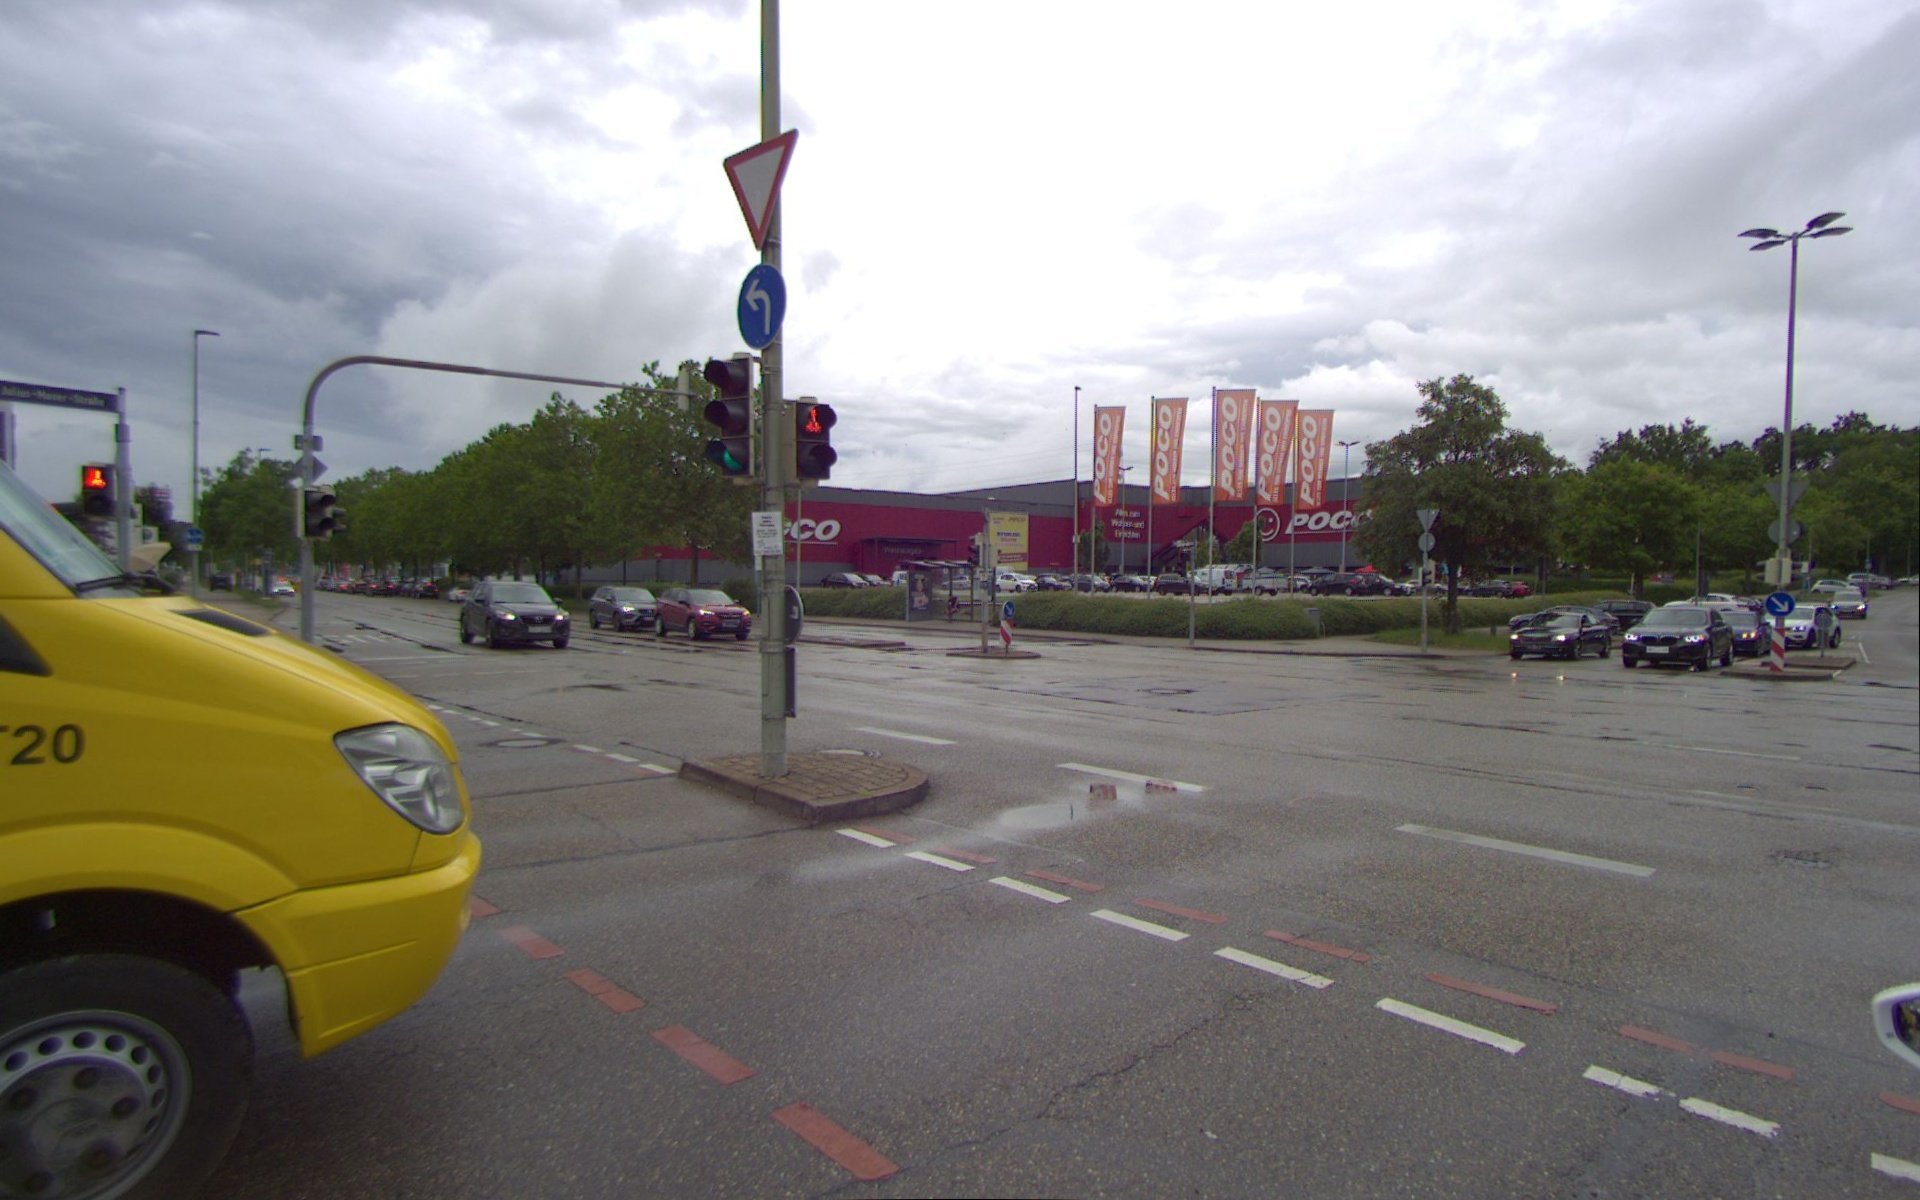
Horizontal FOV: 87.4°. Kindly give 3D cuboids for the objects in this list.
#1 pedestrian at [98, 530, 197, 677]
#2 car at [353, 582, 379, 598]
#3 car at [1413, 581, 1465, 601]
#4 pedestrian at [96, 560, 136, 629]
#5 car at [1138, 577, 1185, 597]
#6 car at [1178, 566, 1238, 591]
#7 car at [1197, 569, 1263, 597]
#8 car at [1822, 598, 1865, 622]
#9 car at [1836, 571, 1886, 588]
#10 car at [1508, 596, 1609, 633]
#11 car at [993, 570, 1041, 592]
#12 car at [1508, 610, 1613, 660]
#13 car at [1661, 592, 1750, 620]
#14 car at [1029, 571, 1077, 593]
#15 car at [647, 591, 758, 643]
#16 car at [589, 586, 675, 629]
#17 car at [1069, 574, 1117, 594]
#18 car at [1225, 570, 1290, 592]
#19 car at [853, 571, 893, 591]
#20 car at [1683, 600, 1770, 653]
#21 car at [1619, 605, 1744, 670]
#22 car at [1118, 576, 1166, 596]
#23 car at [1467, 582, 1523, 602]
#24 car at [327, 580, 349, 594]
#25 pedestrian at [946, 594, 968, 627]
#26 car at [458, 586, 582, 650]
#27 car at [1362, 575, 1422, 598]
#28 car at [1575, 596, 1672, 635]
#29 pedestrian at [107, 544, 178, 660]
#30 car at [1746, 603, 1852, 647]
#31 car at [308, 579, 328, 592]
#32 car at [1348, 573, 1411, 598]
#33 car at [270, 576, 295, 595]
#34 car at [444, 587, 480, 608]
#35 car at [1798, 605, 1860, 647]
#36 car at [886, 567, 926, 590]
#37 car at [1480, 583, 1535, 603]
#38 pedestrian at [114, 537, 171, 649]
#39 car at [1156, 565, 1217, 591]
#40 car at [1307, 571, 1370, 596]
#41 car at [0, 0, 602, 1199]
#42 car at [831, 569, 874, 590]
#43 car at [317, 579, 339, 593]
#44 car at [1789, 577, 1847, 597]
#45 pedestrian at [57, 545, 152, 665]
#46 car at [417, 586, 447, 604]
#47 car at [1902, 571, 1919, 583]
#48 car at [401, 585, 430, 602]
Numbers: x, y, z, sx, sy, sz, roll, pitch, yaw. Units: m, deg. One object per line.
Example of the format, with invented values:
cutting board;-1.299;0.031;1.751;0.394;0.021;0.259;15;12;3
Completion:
pedestrian;-11.753;0.048;14.547;0.683;2.040;0.816;2;0;10
car;-62.543;-1.092;105.668;1.828;1.610;3.955;1;0;-39
car;41.905;-0.794;87.946;1.658;1.667;3.785;1;0;-38
pedestrian;-21.608;-0.137;25.734;0.694;1.734;0.690;1;0;-36
car;17.590;-1.163;87.966;1.658;1.667;3.919;1;0;-38
car;16.942;-1.469;68.750;1.618;1.667;3.785;1;0;-38
car;23.633;-1.474;88.075;1.810;2.334;5.586;1;0;-38
car;56.261;0.645;63.929;3.647;1.475;1.681;1;0;-43
car;100.417;-2.284;112.010;1.842;1.818;3.952;1;0;-41
car;26.748;0.625;44.961;3.610;1.574;1.674;1;0;44
car;4.500;-1.500;79.861;1.658;1.667;3.919;1;0;-38
car;18.599;1.044;31.046;3.972;1.423;1.766;1;0;-43
car;46.617;0.381;62.846;1.672;1.630;4.232;1;0;-42
car;7.459;-1.420;81.015;1.658;1.667;3.919;1;0;-38
car;-8.228;0.511;31.938;1.707;1.483;3.950;4;-2;-42
car;-11.973;0.263;36.594;1.684;1.415;3.658;1;1;-41
car;11.078;-1.331;83.888;1.658;1.667;3.919;1;0;-38
car;19.401;-1.228;65.674;1.658;1.399;3.866;1;0;-38
car;-7.689;-1.671;88.584;1.682;1.667;3.919;1;0;-38
car;26.222;0.896;34.300;1.778;1.654;4.522;1;0;45
car;19.426;0.967;26.975;4.560;1.574;1.877;1;0;-43
car;15.613;-1.212;86.351;1.658;1.667;3.919;1;0;-38
car;44.744;-0.676;84.017;1.658;1.667;3.785;1;0;-38
car;-73.624;-1.505;118.868;1.828;1.610;3.955;1;0;-39
pedestrian;-0.132;0.481;46.254;0.775;1.450;0.633;2;0;-43
car;-11.348;0.426;25.791;1.743;1.483;3.950;2;0;-42
car;31.773;-0.996;73.938;1.658;1.667;3.785;1;0;-38
car;31.641;0.720;47.931;3.610;1.747;1.674;1;0;44
pedestrian;-13.779;0.033;16.951;0.808;1.881;0.690;3;1;-36
car;31.769;0.913;38.011;3.954;1.574;1.886;0;0;-31
car;-84.855;-1.946;132.804;1.828;1.610;3.955;1;0;-39
car;29.927;-1.037;71.759;1.658;1.667;3.785;1;0;-38
car;-65.289;-1.426;96.797;1.608;1.751;3.635;1;0;-40
car;-40.777;-0.218;82.175;1.828;1.610;3.955;1;0;-39
car;38.444;1.128;44.425;3.512;1.719;1.582;0;2;-42
car;-4.912;-1.958;91.514;1.777;1.951;3.707;1;0;-39
car;46.809;-0.627;85.857;1.658;1.667;3.785;1;0;-38
pedestrian;-15.224;-0.126;18.712;0.734;2.040;0.690;1;0;-35
car;14.978;-1.447;66.506;1.658;1.667;3.785;1;0;-38
car;25.909;-1.137;68.848;1.658;1.667;3.785;1;0;-38
car;-3.511;0.071;1.768;4.978;2.507;2.219;1;0;-42
car;-8.732;-1.655;81.634;1.682;1.667;3.919;1;0;-38
car;-78.685;-1.708;125.040;1.828;1.610;3.955;1;0;-39
car;78.086;-1.175;91.450;3.945;1.818;1.845;1;0;44
pedestrian;-13.361;0.077;15.703;0.683;1.798;0.816;3;0;10
car;-49.325;-0.489;93.795;1.828;1.610;3.955;1;0;-39
car;127.654;-3.017;133.136;1.791;1.550;3.952;1;0;-40
car;-53.328;-0.642;98.387;1.828;1.610;3.955;1;0;-39
